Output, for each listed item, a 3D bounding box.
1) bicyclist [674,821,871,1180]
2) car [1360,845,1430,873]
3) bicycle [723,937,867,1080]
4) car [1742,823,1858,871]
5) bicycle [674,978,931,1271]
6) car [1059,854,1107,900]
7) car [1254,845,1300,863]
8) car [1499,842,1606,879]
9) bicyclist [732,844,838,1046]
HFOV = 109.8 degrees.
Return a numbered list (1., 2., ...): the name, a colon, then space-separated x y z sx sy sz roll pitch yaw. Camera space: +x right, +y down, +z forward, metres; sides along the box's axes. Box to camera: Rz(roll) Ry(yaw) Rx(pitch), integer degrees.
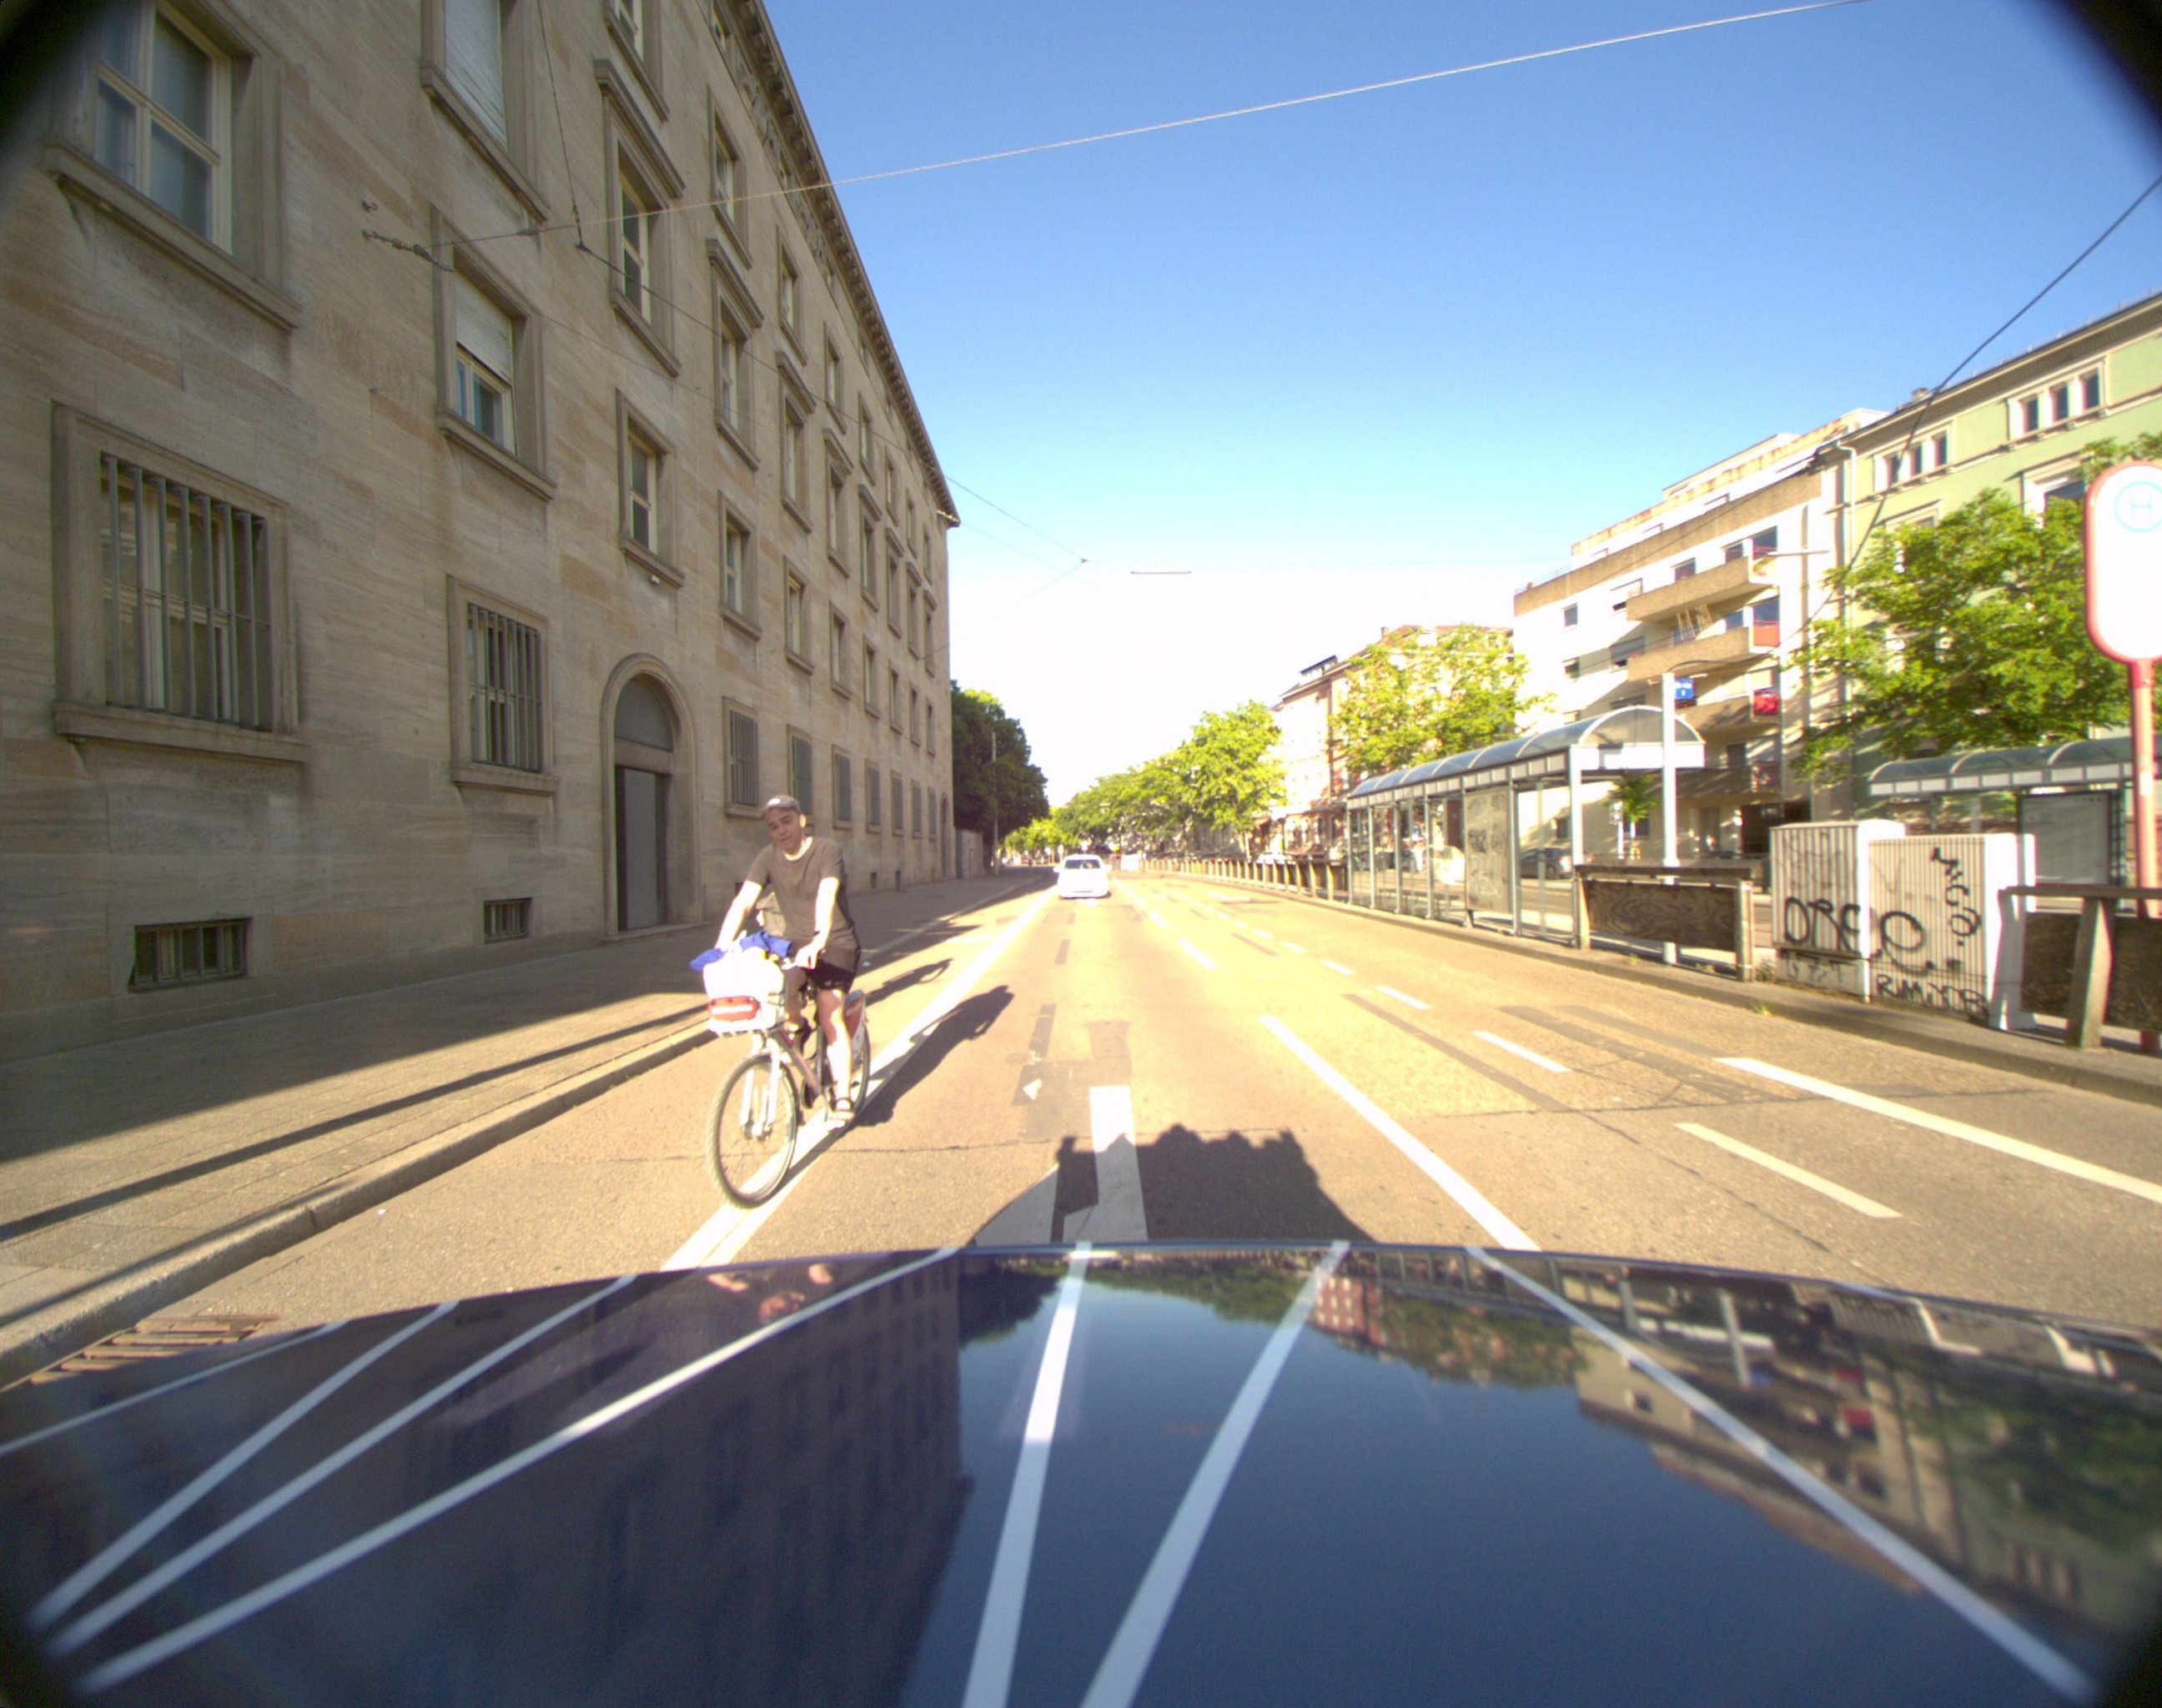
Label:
1. bicyclist: -1.530 0.683 3.869 0.671 1.668 0.657 -1 1 5
2. car: 18.392 0.273 44.697 2.000 1.521 3.997 -1 0 -8
3. bicycle: -2.470 1.295 6.804 0.427 0.871 1.951 -1 0 4
4. car: 31.502 -0.328 33.333 4.001 2.002 1.798 -1 1 -13
5. bicycle: -1.370 1.291 4.166 0.390 0.900 1.952 -1 0 9
6. car: 0.091 0.760 26.746 1.571 1.455 3.687 -1 0 1
7. car: 16.347 -0.012 63.286 3.648 1.342 1.578 -2 1 -29
8. car: 20.986 0.260 34.020 2.000 1.521 3.997 -1 0 -8
9. bicyclist: -2.594 0.758 6.733 0.523 1.670 0.859 -1 1 4
